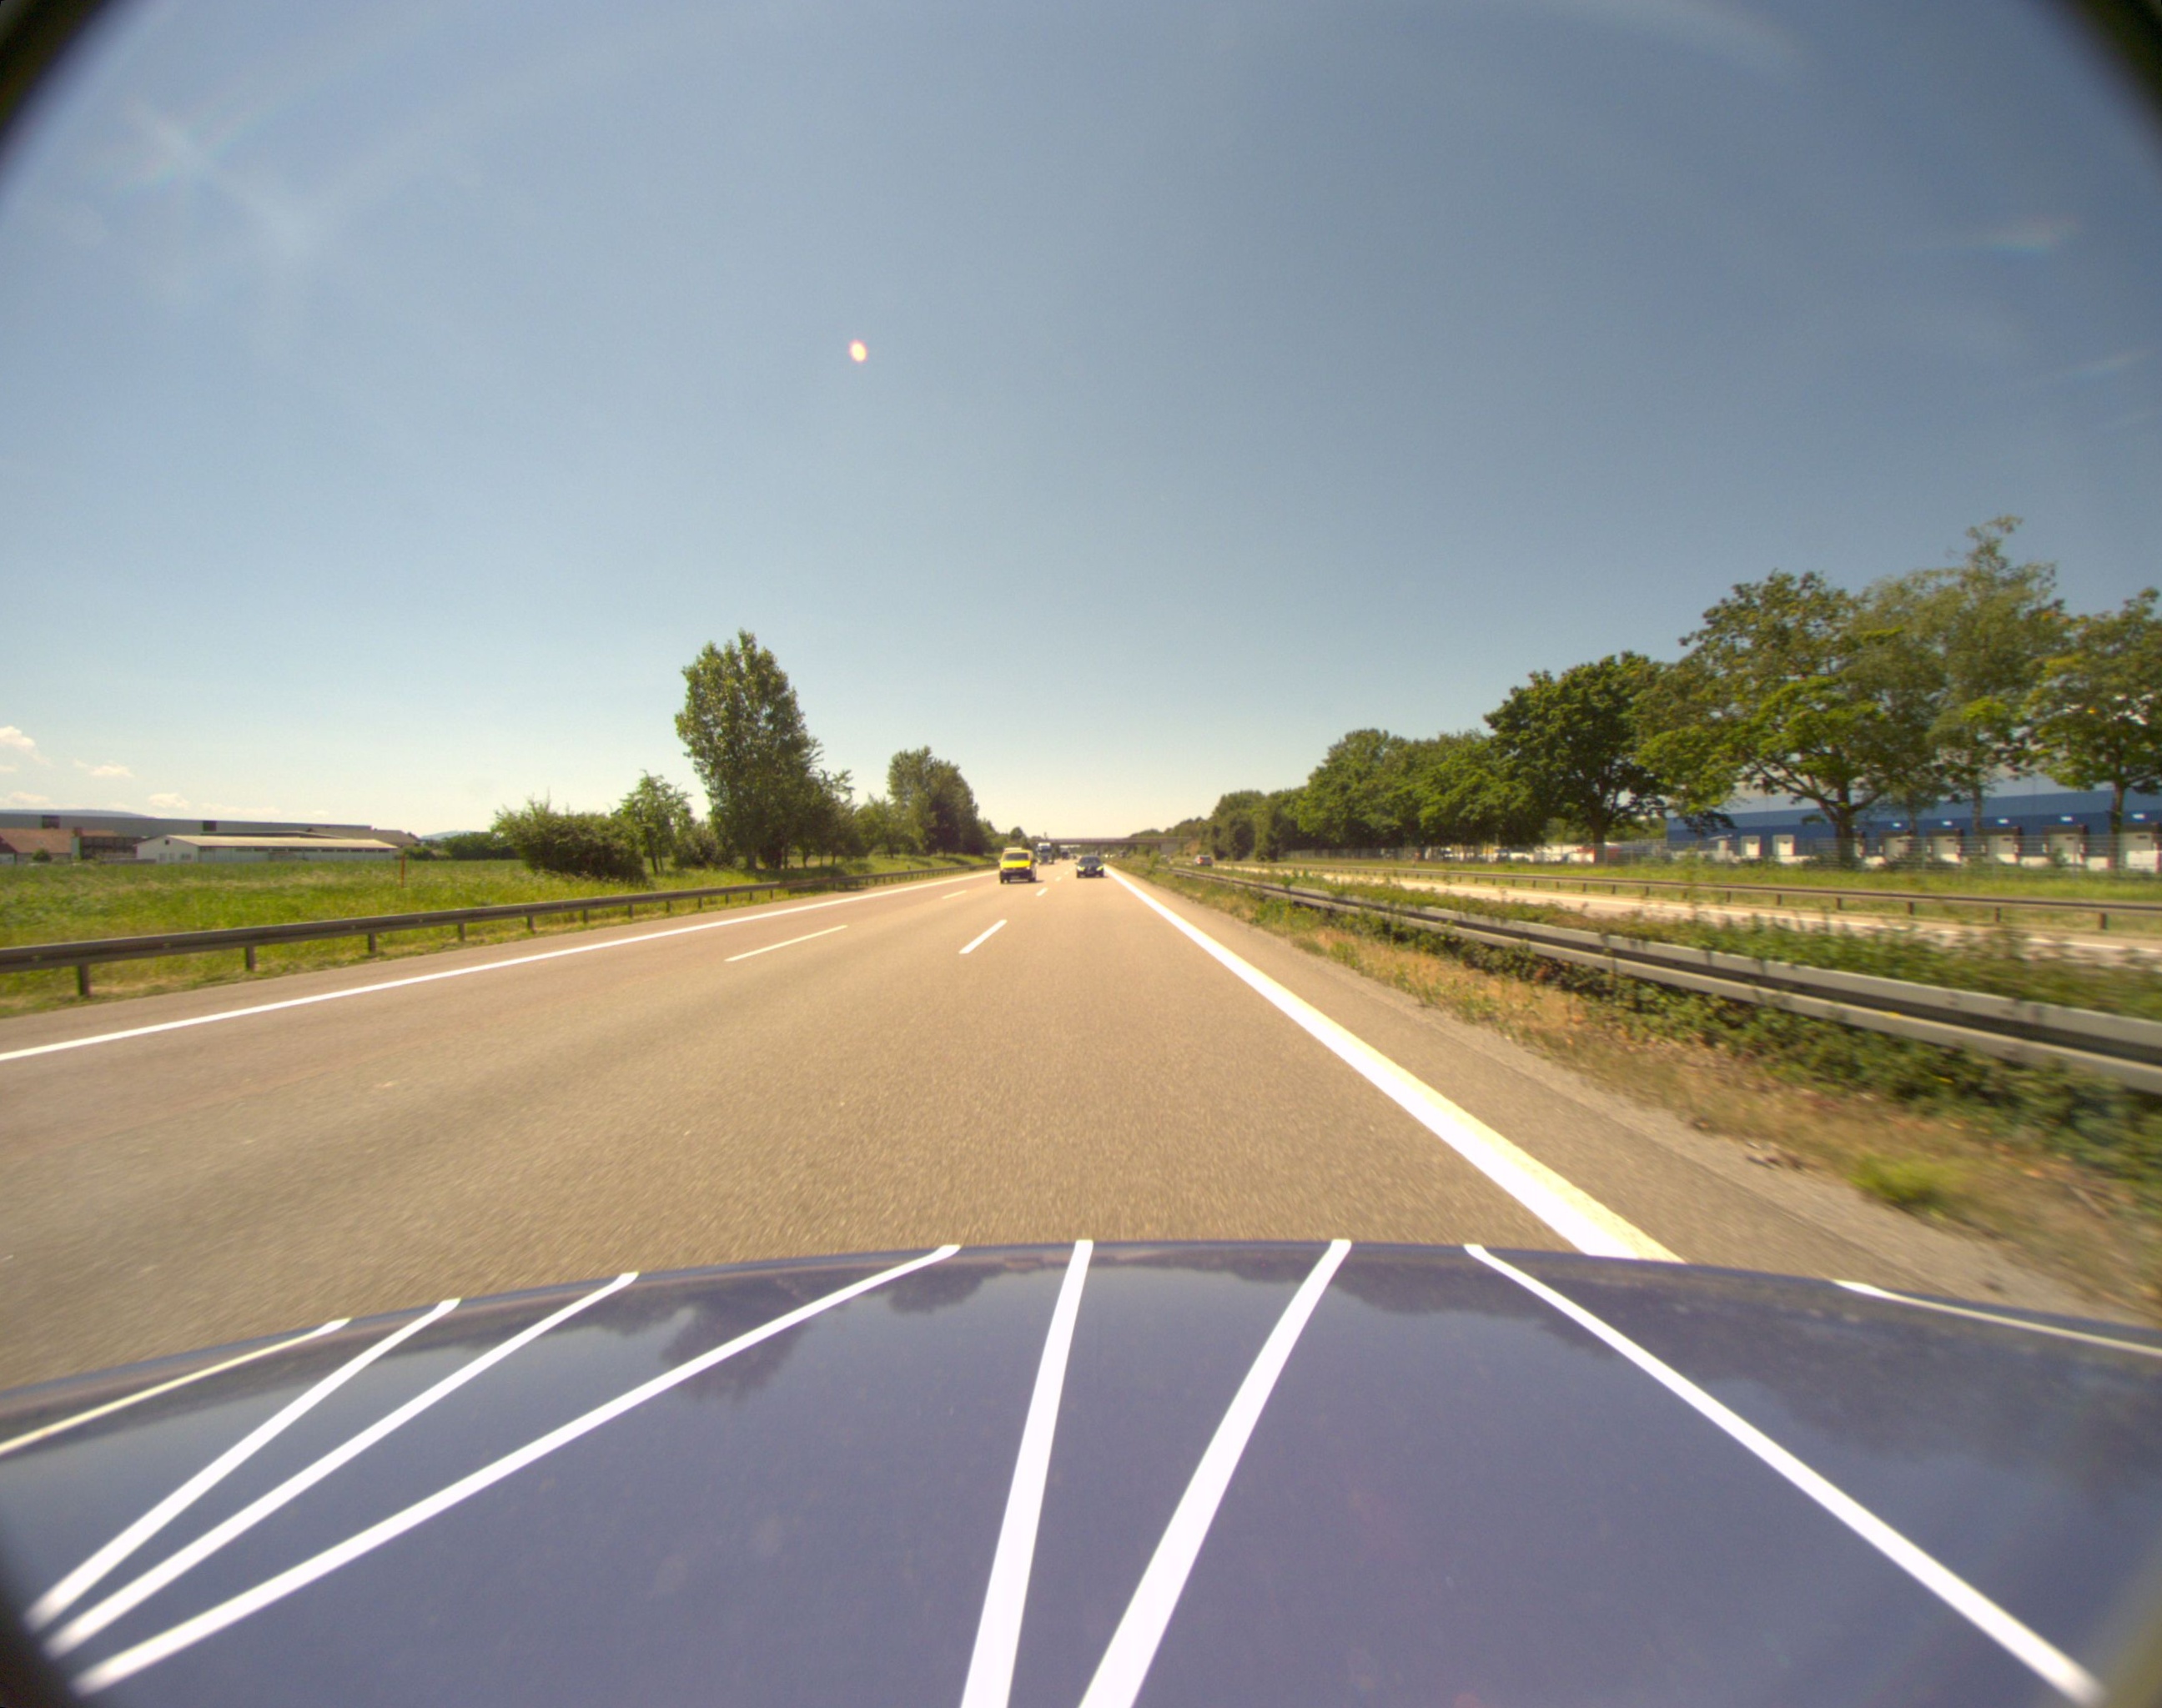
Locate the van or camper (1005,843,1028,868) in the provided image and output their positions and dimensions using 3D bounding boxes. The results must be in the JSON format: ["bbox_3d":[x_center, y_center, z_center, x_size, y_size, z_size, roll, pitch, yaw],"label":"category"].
[{"bbox_3d":[-7.353,0.131,87.410,2.119,2.687,6.367,-2,0,0],"label":"van or camper"}]

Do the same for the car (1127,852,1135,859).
[{"bbox_3d":[13.520,0.428,205.442,1.998,1.630,4.859,3,0,1],"label":"car"}]

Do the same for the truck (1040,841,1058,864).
[{"bbox_3d":[-6.062,-0.330,145.206,2.806,4.022,13.353,-3,0,0],"label":"truck"}]

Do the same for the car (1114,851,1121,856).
[{"bbox_3d":[12.797,-0.036,267.685,1.998,1.630,4.572,-3,0,1],"label":"car"}]

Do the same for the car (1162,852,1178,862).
[{"bbox_3d":[15.452,0.482,132.167,1.999,1.630,4.858,3,0,0],"label":"car"}]

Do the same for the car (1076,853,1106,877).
[{"bbox_3d":[0.655,0.713,51.904,1.894,1.541,4.038,1,0,-1],"label":"car"}]

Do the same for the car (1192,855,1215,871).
[{"bbox_3d":[13.988,0.983,87.062,1.850,1.672,4.814,1,0,1],"label":"car"}]

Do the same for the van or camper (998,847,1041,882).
[{"bbox_3d":[-3.698,0.585,46.647,2.063,1.992,5.884,-1,0,1],"label":"van or camper"}]
